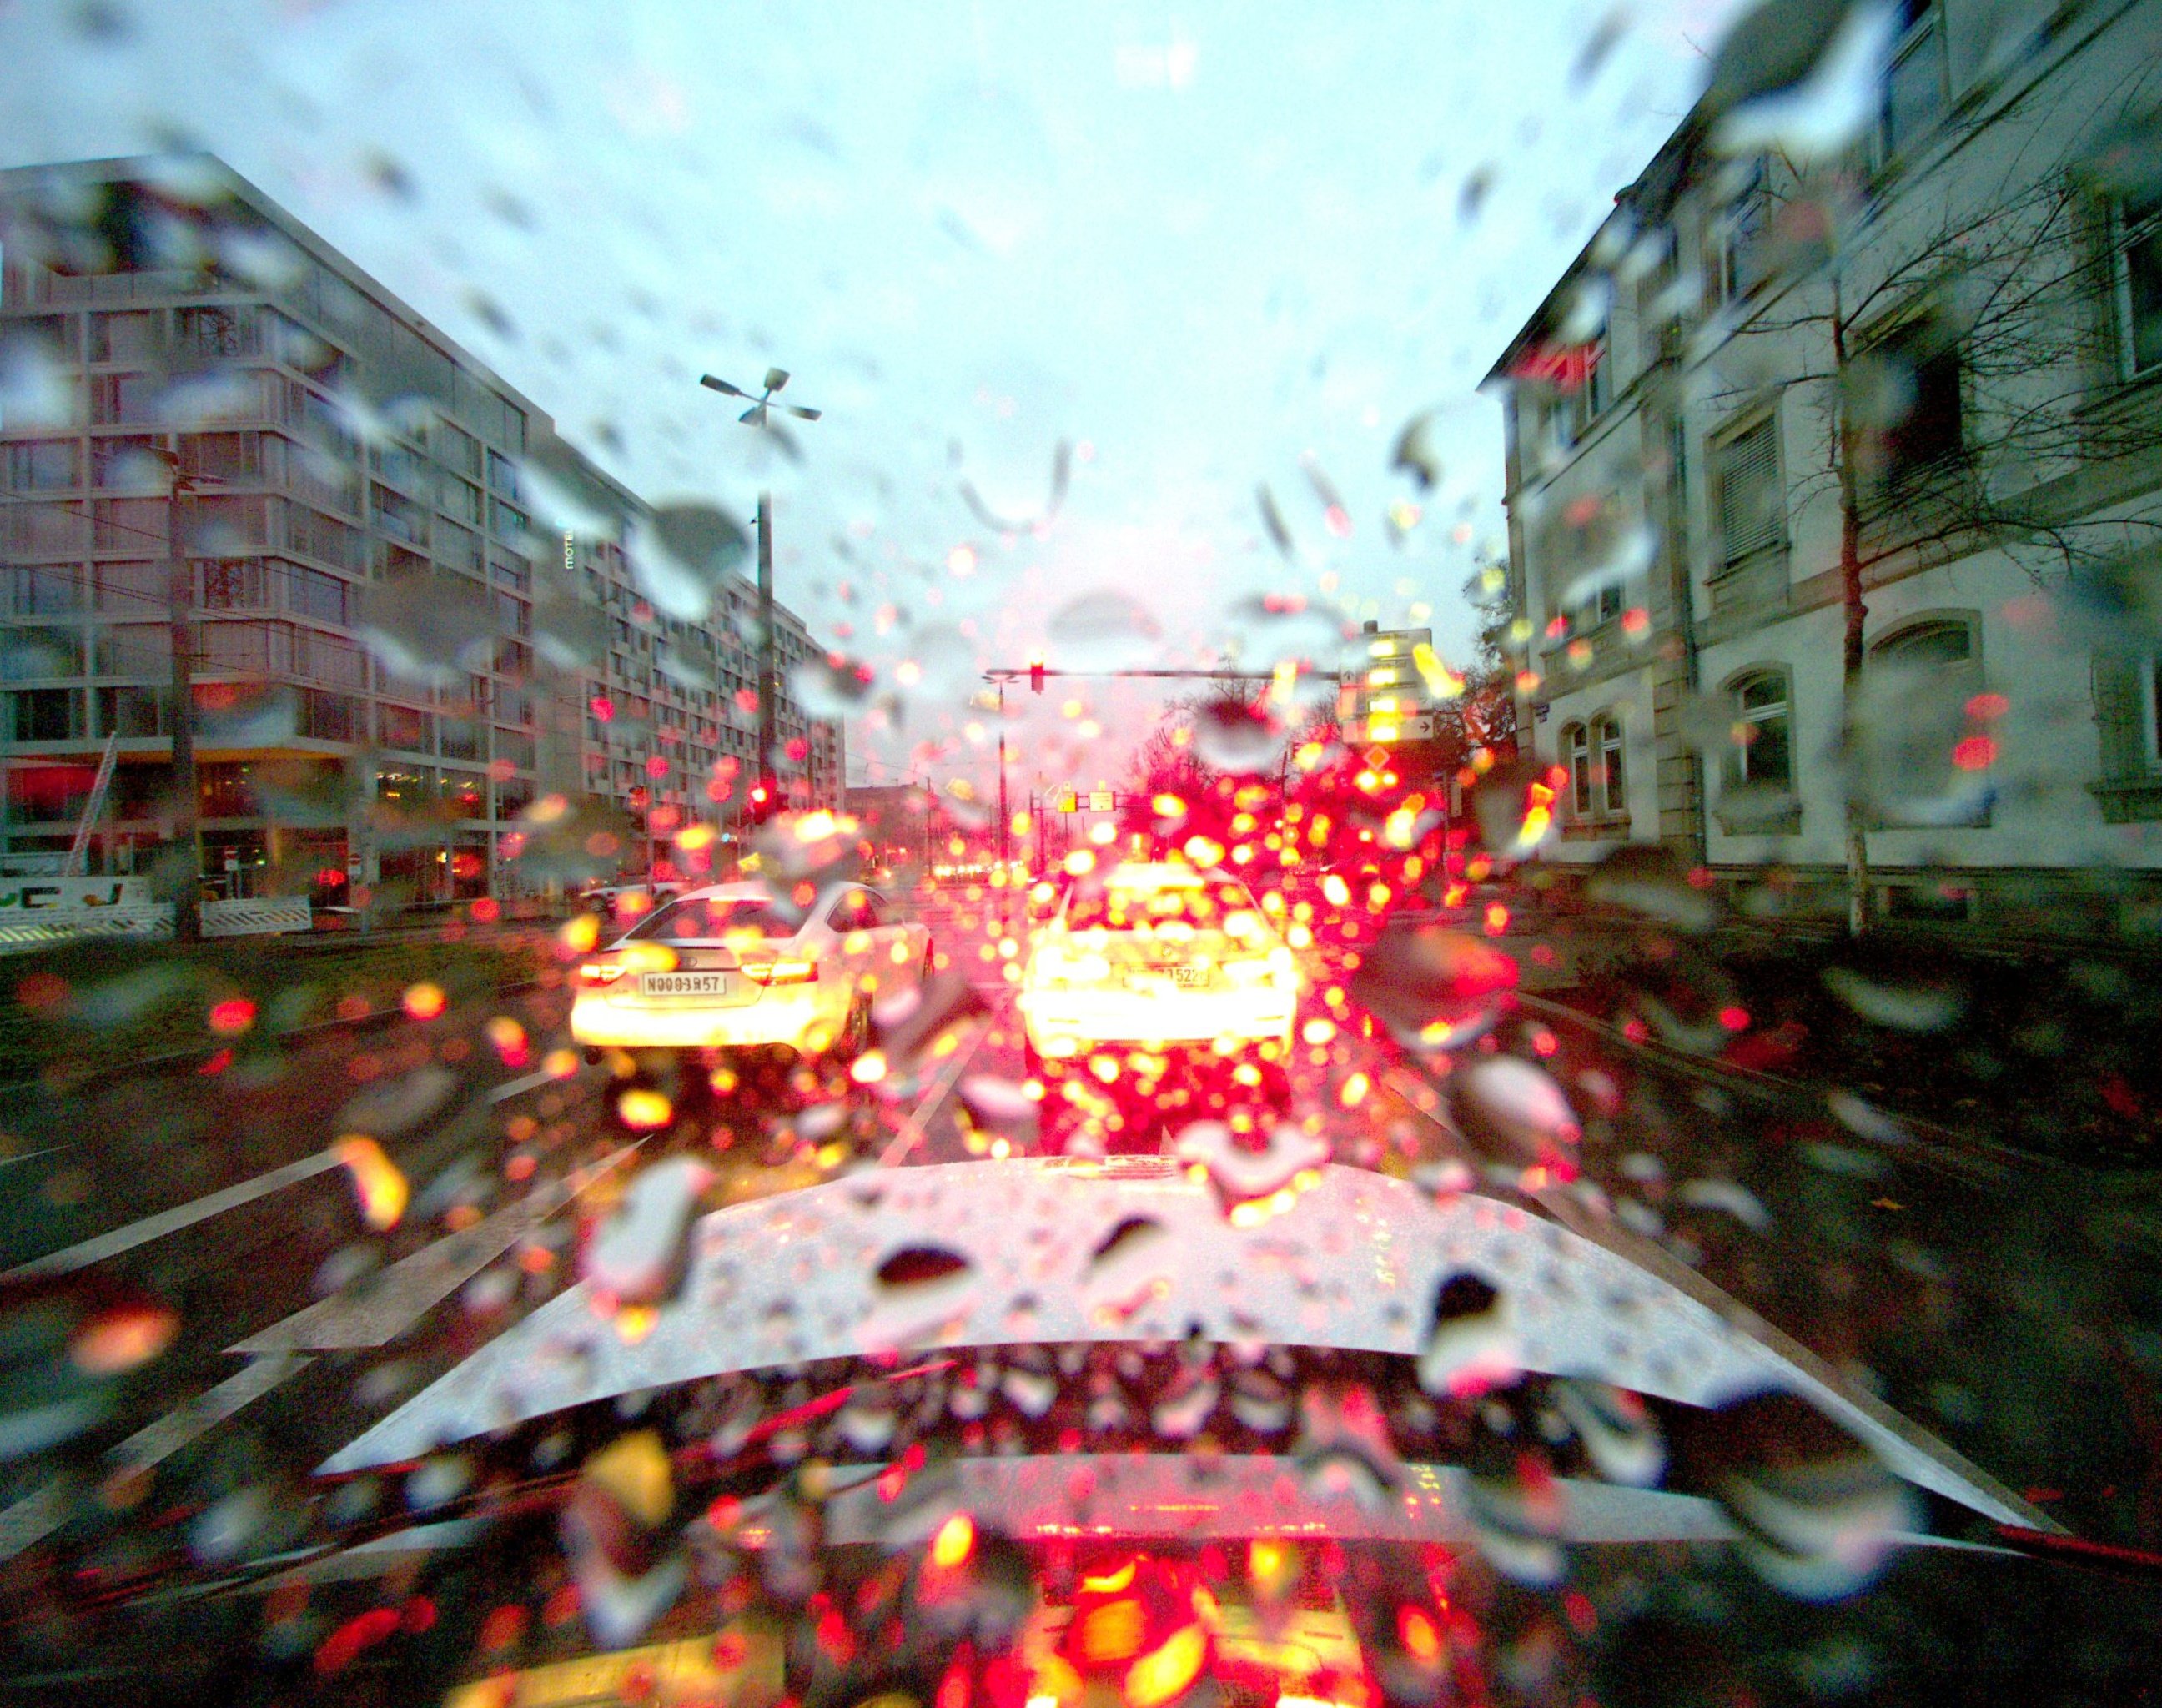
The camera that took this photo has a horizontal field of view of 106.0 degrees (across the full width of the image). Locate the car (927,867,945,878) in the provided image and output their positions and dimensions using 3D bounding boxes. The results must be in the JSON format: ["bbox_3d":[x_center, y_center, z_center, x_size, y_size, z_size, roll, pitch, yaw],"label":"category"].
[{"bbox_3d":[-19.702,2.497,110.503,1.669,1.508,3.697,0,-1,1],"label":"car"}]

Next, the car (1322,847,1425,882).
[{"bbox_3d":[12.319,0.441,34.332,3.951,1.402,1.767,0,-1,24],"label":"car"}]

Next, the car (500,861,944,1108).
[{"bbox_3d":[-2.590,0.828,7.235,1.987,1.456,4.367,-1,0,0],"label":"car"}]

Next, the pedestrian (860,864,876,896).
[{"bbox_3d":[-11.713,1.416,44.787,0.791,1.712,0.809,0,-1,-13],"label":"pedestrian"}]

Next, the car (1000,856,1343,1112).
[{"bbox_3d":[0.532,0.760,6.942,1.987,1.456,4.367,-1,0,0],"label":"car"}]

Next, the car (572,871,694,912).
[{"bbox_3d":[-16.695,1.370,30.521,3.697,1.478,1.619,0,-1,-18],"label":"car"}]

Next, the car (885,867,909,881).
[{"bbox_3d":[-20.370,2.158,90.264,1.669,1.508,3.697,0,-1,1],"label":"car"}]

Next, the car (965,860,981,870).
[{"bbox_3d":[-15.890,1.650,119.925,1.669,1.508,3.697,0,-1,1],"label":"car"}]

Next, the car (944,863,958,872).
[{"bbox_3d":[-21.535,2.203,135.076,1.669,1.508,3.697,0,-1,1],"label":"car"}]

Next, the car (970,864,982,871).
[{"bbox_3d":[-20.459,2.623,158.803,1.669,1.508,3.697,0,-1,1],"label":"car"}]

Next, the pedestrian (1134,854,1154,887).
[{"bbox_3d":[3.579,0.961,46.328,0.894,1.856,0.817,-1,-1,26],"label":"pedestrian"}]

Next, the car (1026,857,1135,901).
[{"bbox_3d":[0.034,0.926,31.037,3.966,1.622,1.722,0,-1,6],"label":"car"}]

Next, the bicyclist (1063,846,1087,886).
[{"bbox_3d":[-0.253,0.547,36.155,0.968,1.759,0.814,0,-1,4],"label":"bicyclist"}]

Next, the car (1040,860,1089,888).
[{"bbox_3d":[-0.977,1.113,46.056,1.748,1.554,3.943,0,-1,-18],"label":"car"}]
